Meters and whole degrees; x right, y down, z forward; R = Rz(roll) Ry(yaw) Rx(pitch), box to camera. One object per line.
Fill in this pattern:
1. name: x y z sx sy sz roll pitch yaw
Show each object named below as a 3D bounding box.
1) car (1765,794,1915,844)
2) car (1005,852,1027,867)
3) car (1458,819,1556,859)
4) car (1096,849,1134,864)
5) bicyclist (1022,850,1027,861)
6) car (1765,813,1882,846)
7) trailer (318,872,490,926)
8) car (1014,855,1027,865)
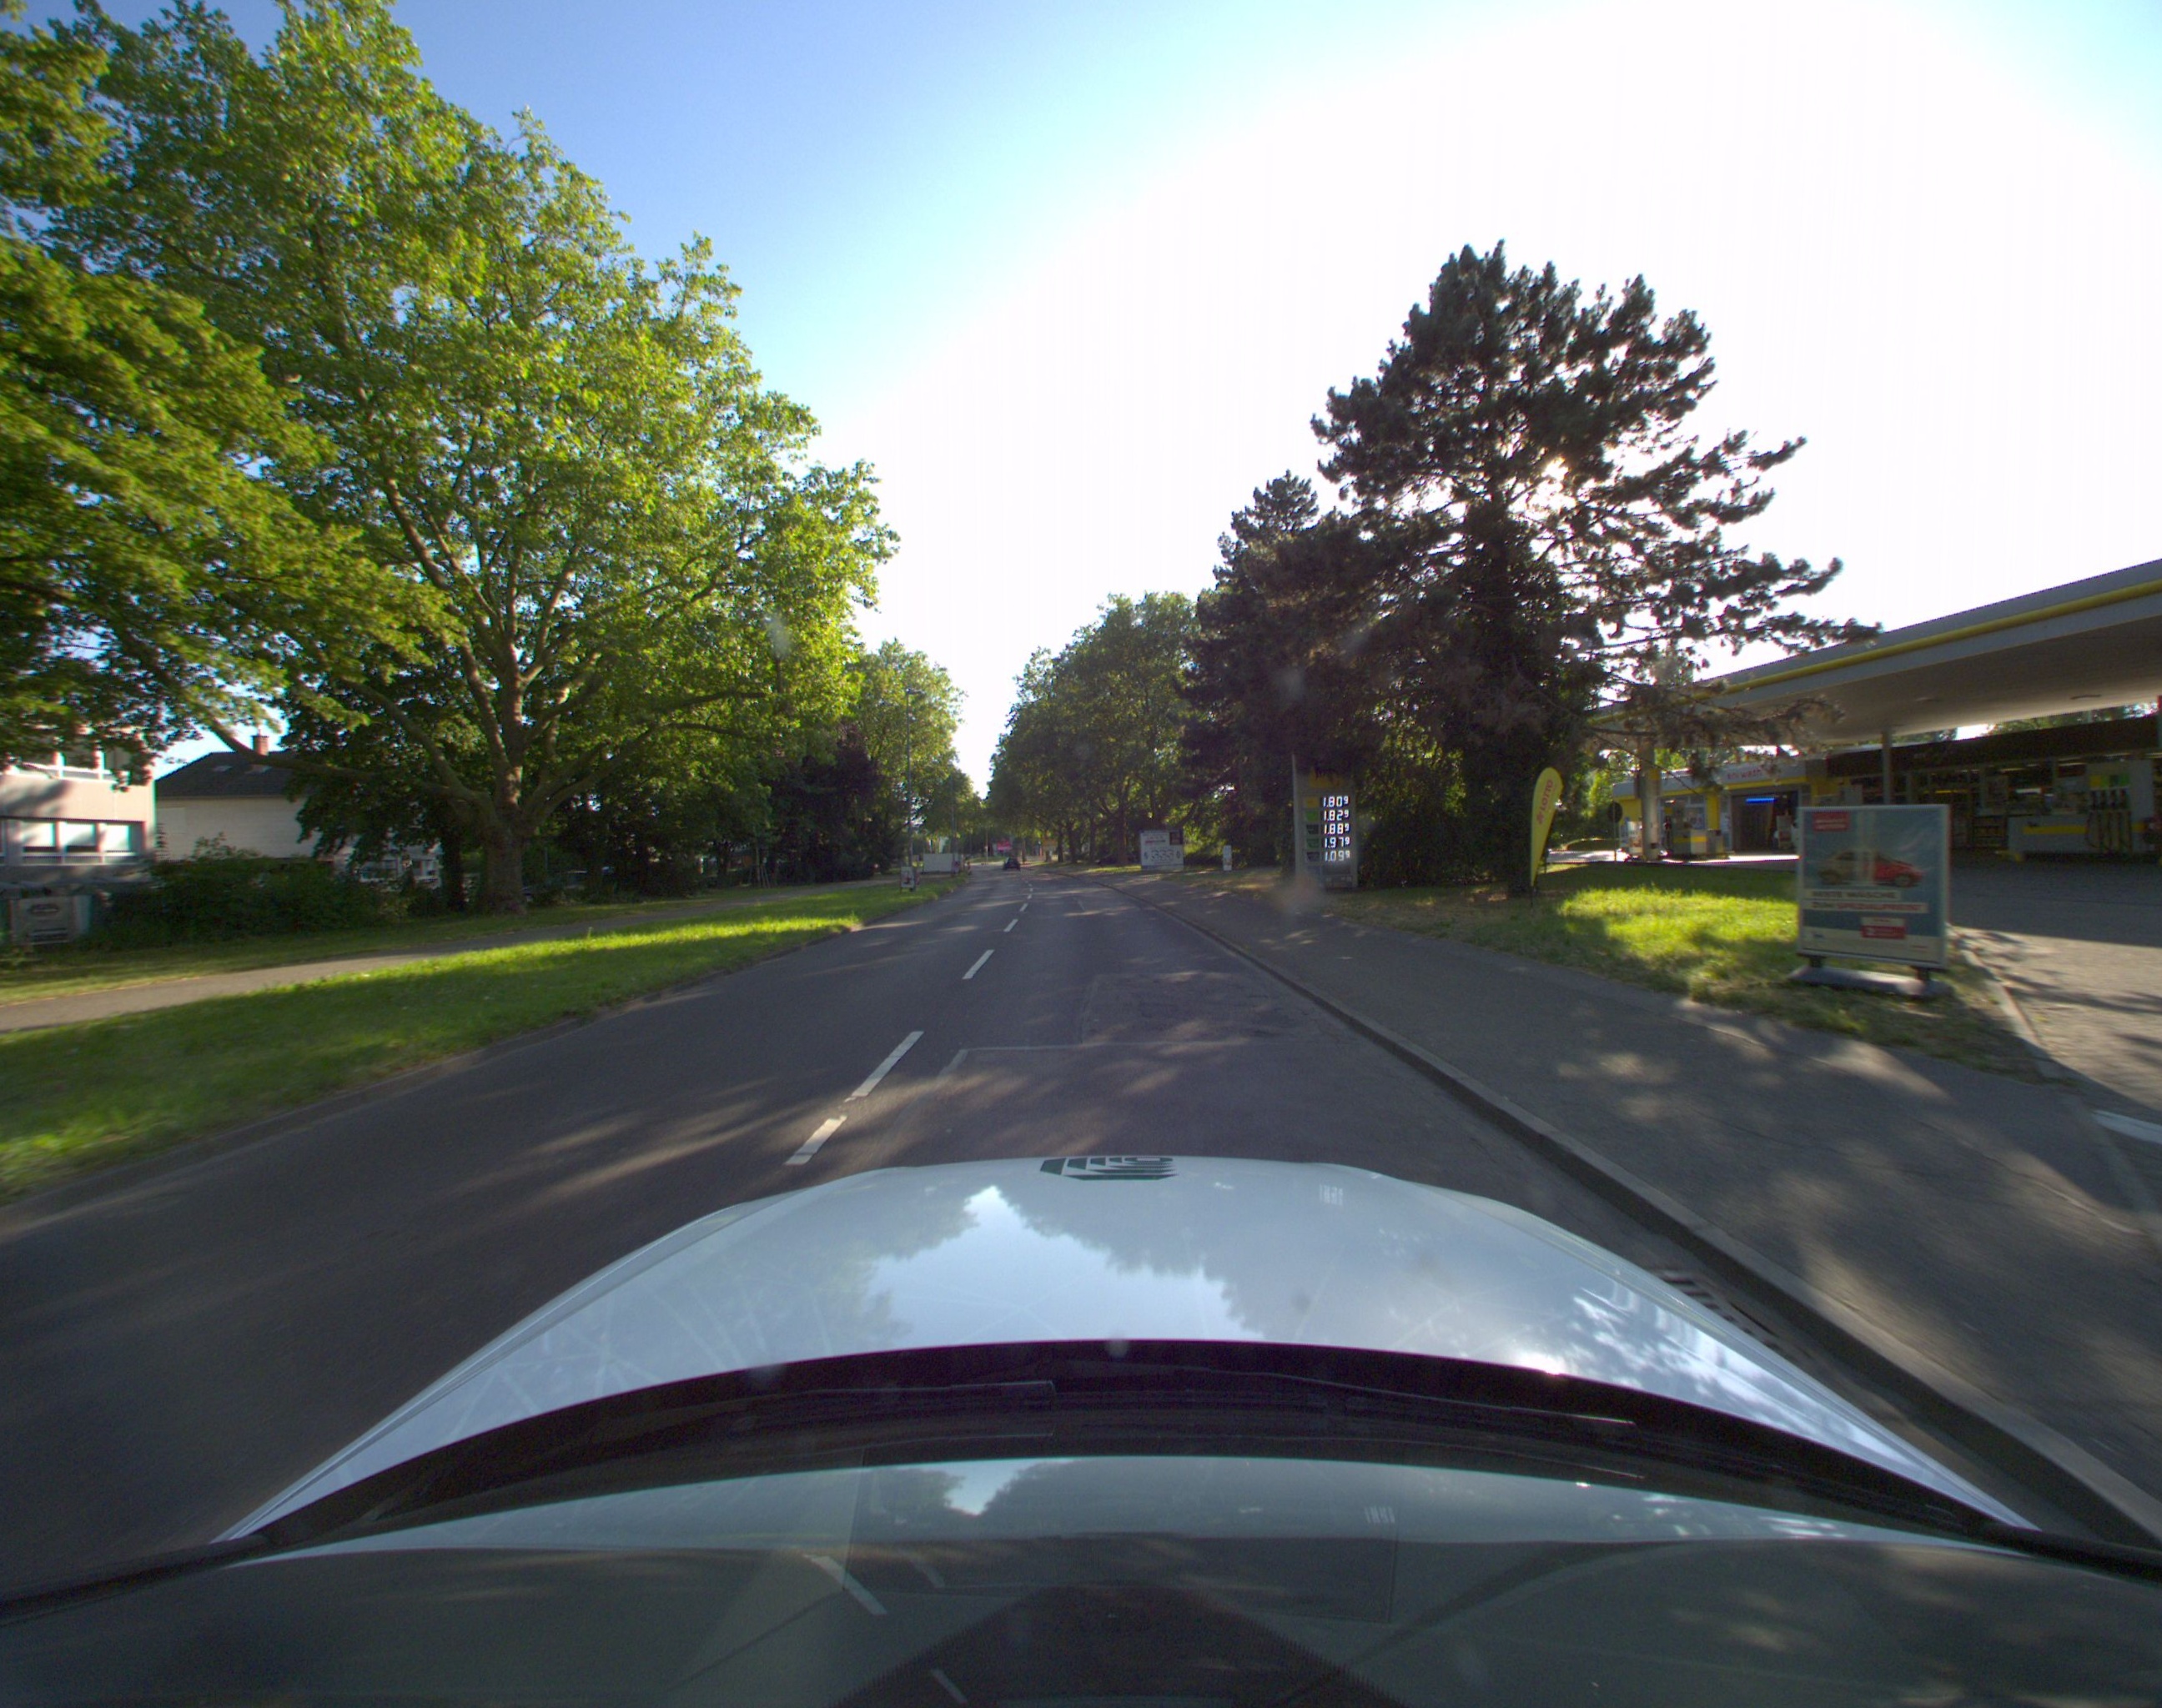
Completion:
1. car: 30.089 -1.324 32.490 1.807 1.728 4.396 -3 0 -1
2. car: -7.344 0.562 92.567 1.830 1.605 3.869 -2 0 6
3. car: 16.771 -0.556 32.318 1.835 1.420 4.001 -2 0 1
4. car: 3.692 0.230 89.260 3.982 1.443 1.757 -3 0 -6
5. bicyclist: -9.339 0.257 134.626 0.650 1.705 0.869 -1 0 -8
6. car: 35.377 -1.147 38.877 3.978 1.372 1.885 -2 1 -3
7. trailer: -22.809 1.474 27.594 3.979 1.555 1.997 -2 0 -4
8. car: -13.394 1.293 180.159 1.982 2.013 4.009 -2 0 8
